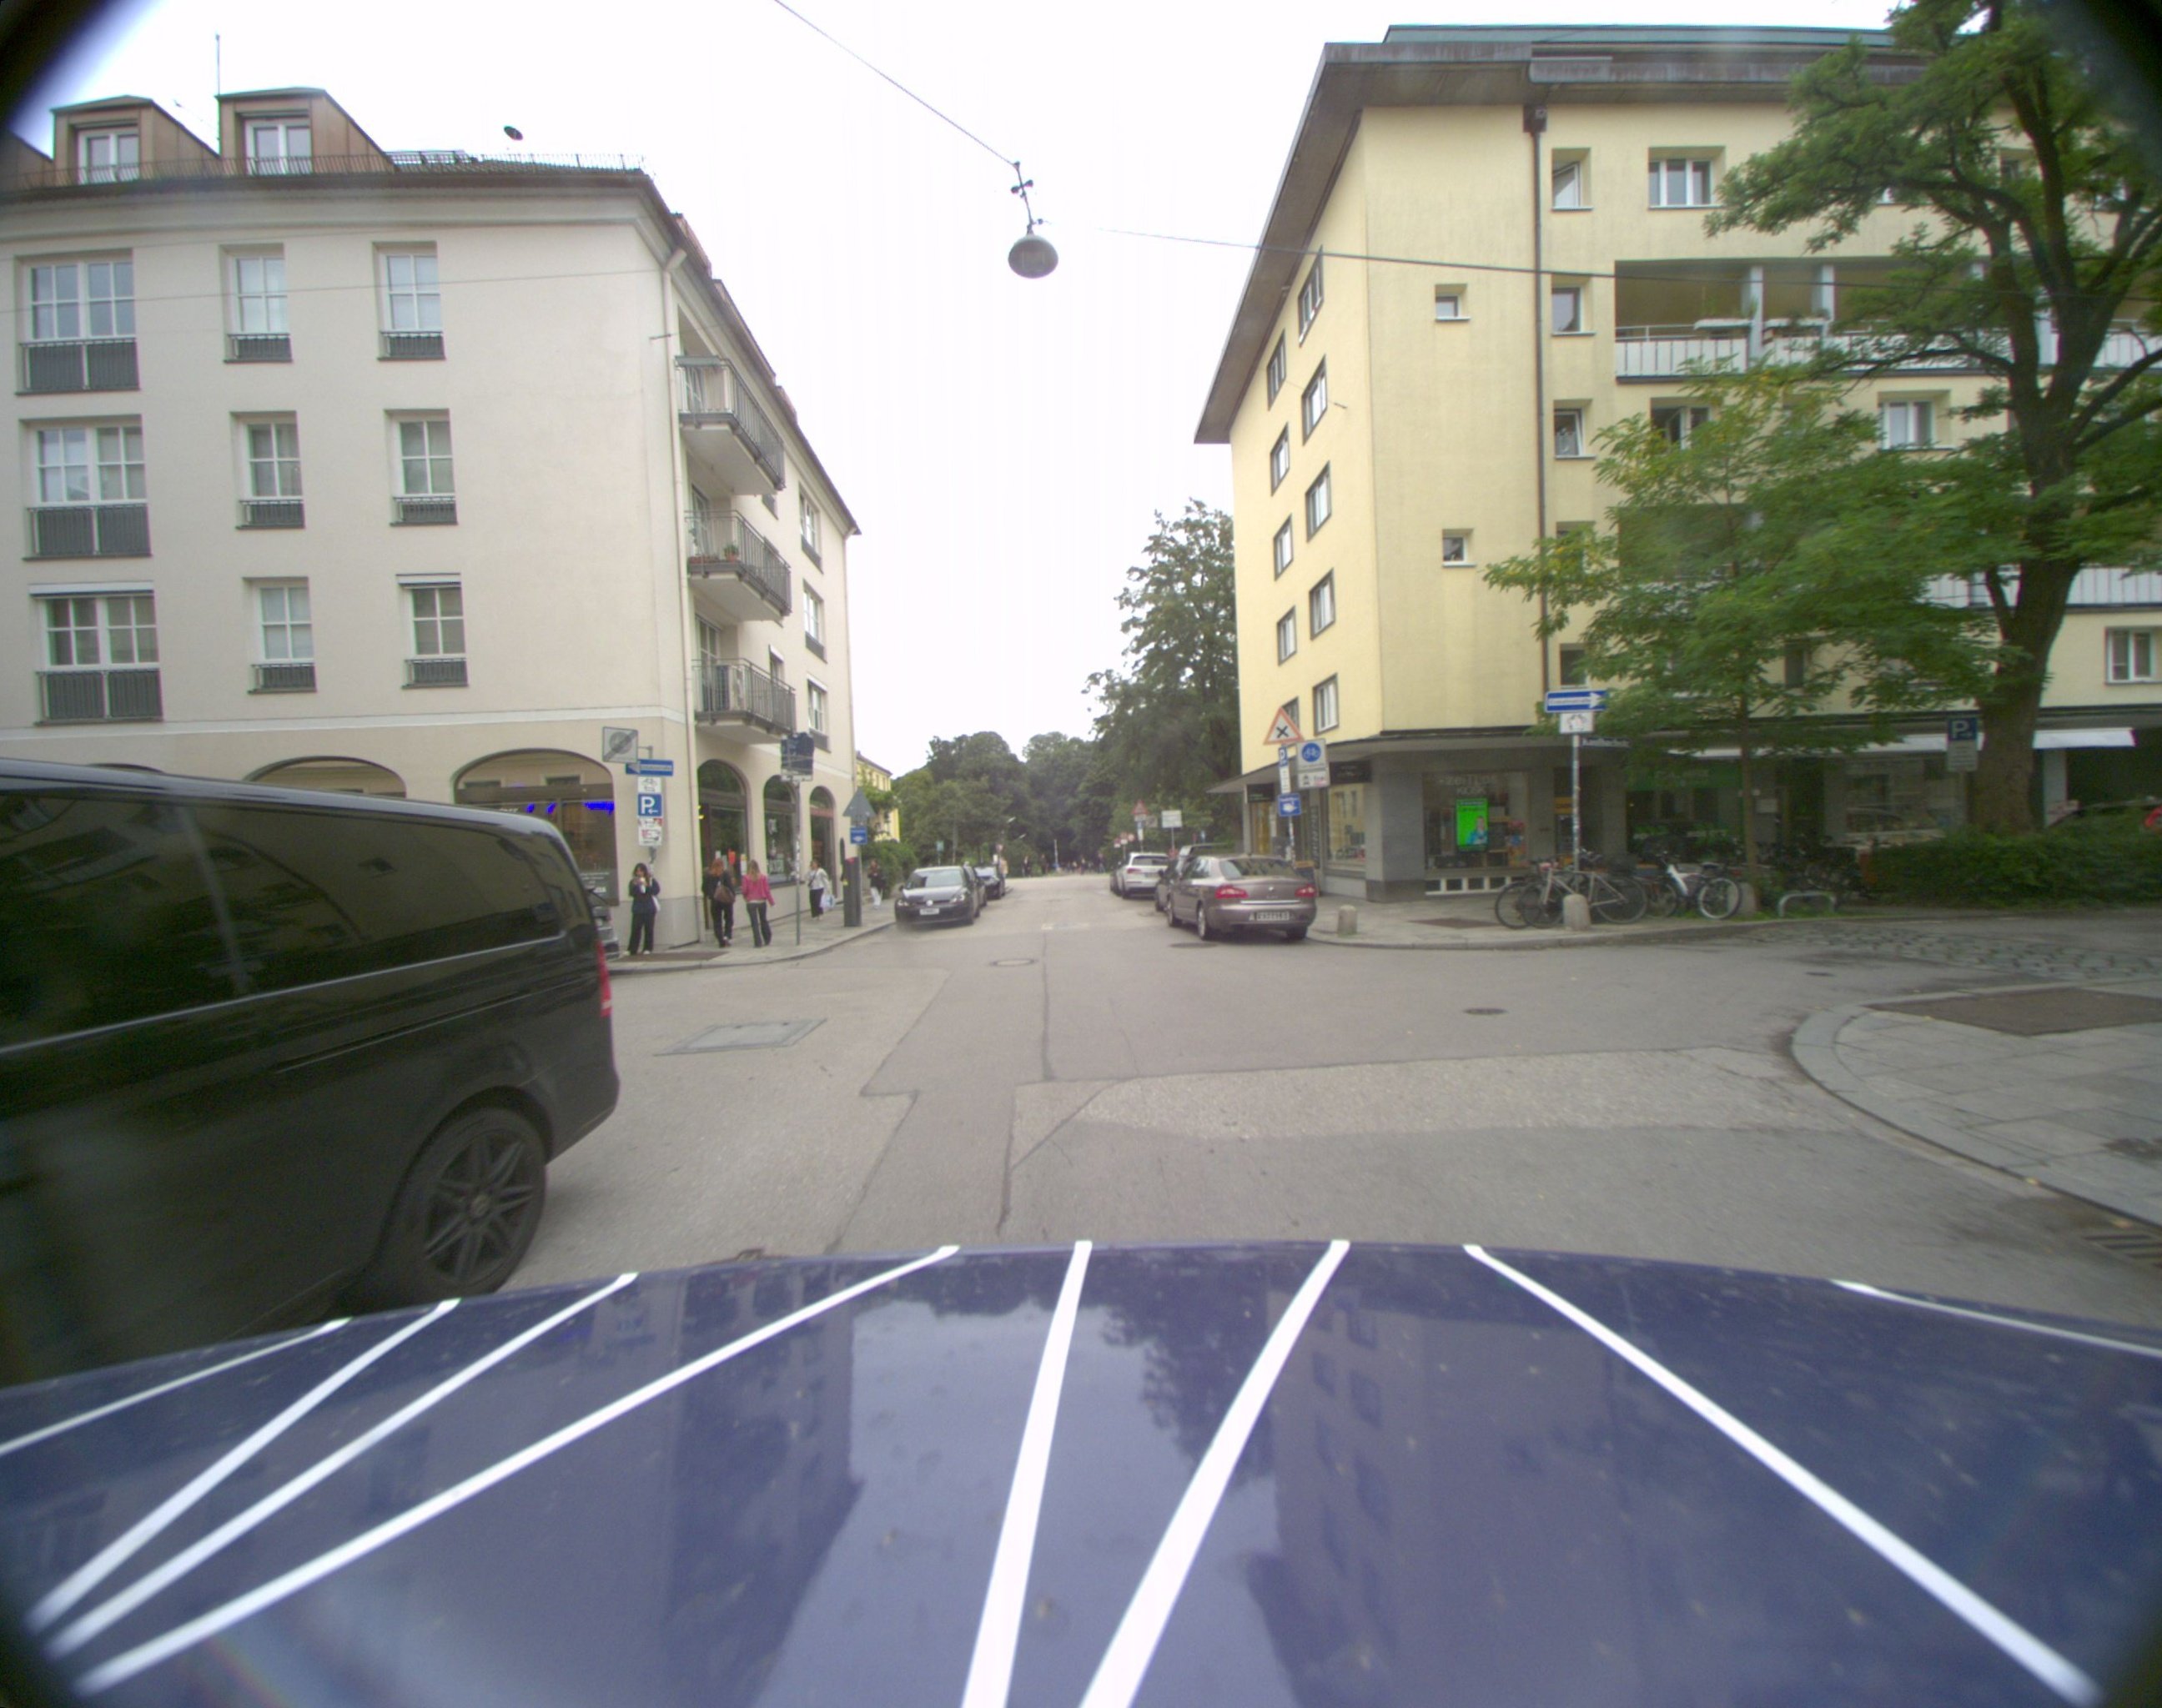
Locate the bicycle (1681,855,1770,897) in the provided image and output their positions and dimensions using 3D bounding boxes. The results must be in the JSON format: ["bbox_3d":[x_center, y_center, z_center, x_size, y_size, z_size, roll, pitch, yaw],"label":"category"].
[{"bbox_3d":[13.339,0.437,15.778,0.293,0.776,1.721,-2,2,-4],"label":"bicycle"}]

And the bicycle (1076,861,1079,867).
[{"bbox_3d":[-0.547,1.800,135.734,0.483,1.034,1.946,-2,0,1],"label":"bicycle"}]

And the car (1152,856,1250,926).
[{"bbox_3d":[2.805,0.805,18.579,1.683,1.463,4.096,-1,0,-1],"label":"car"}]

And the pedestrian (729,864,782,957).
[{"bbox_3d":[-6.016,1.017,14.098,0.473,1.616,1.069,-2,2,-2],"label":"pedestrian"}]

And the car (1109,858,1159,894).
[{"bbox_3d":[2.222,0.899,32.881,1.750,1.402,4.097,-1,0,-2],"label":"car"}]

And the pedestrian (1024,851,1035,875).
[{"bbox_3d":[-3.716,0.675,54.741,0.686,1.662,0.774,-4,-2,-1],"label":"pedestrian"}]

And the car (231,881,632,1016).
[{"bbox_3d":[-9.031,1.256,10.865,4.100,1.595,1.755,-2,-1,-3],"label":"car"}]

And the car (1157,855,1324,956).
[{"bbox_3d":[2.673,0.779,13.950,1.684,1.463,4.948,-1,0,-4],"label":"car"}]

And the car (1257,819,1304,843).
[{"bbox_3d":[19.239,-2.202,73.333,3.958,2.093,1.908,-2,2,29],"label":"car"}]

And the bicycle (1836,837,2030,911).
[{"bbox_3d":[14.704,0.332,13.168,2.372,1.205,0.817,-1,2,1],"label":"bicycle"}]

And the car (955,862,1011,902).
[{"bbox_3d":[-4.028,1.125,31.915,1.807,1.402,4.655,-3,0,-2],"label":"car"}]

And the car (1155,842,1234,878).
[{"bbox_3d":[7.081,0.320,47.335,4.423,1.990,1.933,-2,2,-16],"label":"car"}]

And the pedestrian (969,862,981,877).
[{"bbox_3d":[-8.978,1.310,64.263,0.888,1.227,0.550,-3,-2,-12],"label":"pedestrian"}]

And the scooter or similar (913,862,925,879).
[{"bbox_3d":[-11.882,1.197,55.836,0.396,1.240,1.391,-2,-1,7],"label":"scooter or similar"}]

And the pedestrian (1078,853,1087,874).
[{"bbox_3d":[0.136,0.856,66.558,0.751,1.822,1.115,-1,-1,-1],"label":"pedestrian"}]

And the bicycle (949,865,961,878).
[{"bbox_3d":[-9.894,1.375,59.735,0.307,1.032,1.656,-1,-1,13],"label":"bicycle"}]

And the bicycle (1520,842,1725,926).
[{"bbox_3d":[9.153,0.496,12.930,2.850,1.205,0.817,-4,2,1],"label":"bicycle"}]

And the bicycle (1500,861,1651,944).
[{"bbox_3d":[7.002,0.679,10.791,1.822,1.029,0.392,-4,0,1],"label":"bicycle"}]

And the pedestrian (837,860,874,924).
[{"bbox_3d":[-6.159,1.020,20.805,0.707,1.652,0.880,-2,2,-3],"label":"pedestrian"}]

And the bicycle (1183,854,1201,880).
[{"bbox_3d":[5.596,0.653,38.382,0.563,1.203,1.854,-3,1,1],"label":"bicycle"}]

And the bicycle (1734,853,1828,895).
[{"bbox_3d":[14.549,0.394,15.857,0.293,0.776,1.721,-2,2,-4],"label":"bicycle"}]

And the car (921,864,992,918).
[{"bbox_3d":[-3.894,1.111,24.413,1.650,1.416,4.508,-5,0,-3],"label":"car"}]

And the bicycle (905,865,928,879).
[{"bbox_3d":[-12.269,1.336,56.728,1.656,0.987,0.248,0,-1,-25],"label":"bicycle"}]

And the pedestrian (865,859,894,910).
[{"bbox_3d":[-6.753,1.003,25.464,0.707,1.613,0.880,-2,2,-3],"label":"pedestrian"}]

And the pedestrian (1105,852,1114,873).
[{"bbox_3d":[2.457,0.720,65.640,0.634,1.771,0.801,-1,-1,-1],"label":"pedestrian"}]

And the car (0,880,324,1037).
[{"bbox_3d":[-13.871,1.413,10.622,4.452,1.905,1.975,-2,-2,-3],"label":"car"}]

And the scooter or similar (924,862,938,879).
[{"bbox_3d":[-11.039,1.196,55.997,1.114,1.205,0.324,-2,-1,35],"label":"scooter or similar"}]

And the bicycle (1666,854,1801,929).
[{"bbox_3d":[9.574,0.509,11.238,0.381,0.960,1.715,-4,2,-5],"label":"bicycle"}]

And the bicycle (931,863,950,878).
[{"bbox_3d":[-10.720,1.260,57.987,0.202,1.184,1.658,-1,-2,40],"label":"bicycle"}]

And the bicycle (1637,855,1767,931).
[{"bbox_3d":[9.080,0.529,11.196,0.381,0.960,1.715,-4,2,-5],"label":"bicycle"}]

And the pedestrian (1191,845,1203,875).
[{"bbox_3d":[6.973,0.371,45.815,0.560,1.788,0.641,-2,-1,16],"label":"pedestrian"}]

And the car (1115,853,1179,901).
[{"bbox_3d":[2.284,0.802,27.389,1.807,1.574,4.338,-1,-1,-2],"label":"car"}]

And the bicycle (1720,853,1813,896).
[{"bbox_3d":[14.244,0.405,15.837,0.293,0.776,1.721,-2,2,-4],"label":"bicycle"}]

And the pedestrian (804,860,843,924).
[{"bbox_3d":[-7.022,1.027,20.757,0.707,1.652,0.880,-2,2,-3],"label":"pedestrian"}]

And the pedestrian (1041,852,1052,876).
[{"bbox_3d":[-2.519,0.704,55.016,0.639,1.662,0.774,-4,-2,-1],"label":"pedestrian"}]

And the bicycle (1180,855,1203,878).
[{"bbox_3d":[5.923,0.667,40.652,0.582,1.119,2.301,-3,0,22],"label":"bicycle"}]

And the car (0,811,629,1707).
[{"bbox_3d":[-3.158,0.893,0.909,2.002,1.853,5.252,-3,0,0],"label":"car"}]

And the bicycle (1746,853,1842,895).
[{"bbox_3d":[14.845,0.384,15.874,0.293,0.776,1.721,-2,2,-4],"label":"bicycle"}]

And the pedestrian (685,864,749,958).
[{"bbox_3d":[-6.719,1.030,14.065,0.660,1.611,0.979,-2,2,-2],"label":"pedestrian"}]

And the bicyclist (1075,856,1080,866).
[{"bbox_3d":[-0.551,1.281,135.753,0.856,1.792,0.766,-1,1,1],"label":"bicyclist"}]

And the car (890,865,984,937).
[{"bbox_3d":[-3.469,1.081,18.985,1.680,1.416,4.202,-5,0,-4],"label":"car"}]

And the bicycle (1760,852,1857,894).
[{"bbox_3d":[15.148,0.374,15.886,0.293,0.776,1.721,-2,2,-4],"label":"bicycle"}]

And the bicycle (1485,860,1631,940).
[{"bbox_3d":[7.008,0.667,11.195,1.822,1.029,0.392,-4,0,1],"label":"bicycle"}]

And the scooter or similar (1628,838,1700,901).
[{"bbox_3d":[12.138,0.299,15.814,1.205,1.194,0.996,-4,3,-42],"label":"scooter or similar"}]

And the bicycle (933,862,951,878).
[{"bbox_3d":[-10.577,1.248,57.850,0.169,1.191,1.658,-1,-2,40],"label":"bicycle"}]

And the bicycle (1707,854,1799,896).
[{"bbox_3d":[13.943,0.416,15.817,0.293,0.776,1.721,-2,2,-4],"label":"bicycle"}]

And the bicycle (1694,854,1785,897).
[{"bbox_3d":[13.637,0.421,15.792,0.293,0.776,1.721,-2,2,-4],"label":"bicycle"}]

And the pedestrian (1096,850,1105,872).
[{"bbox_3d":[1.708,0.614,65.656,0.708,1.892,0.804,-1,-1,-1],"label":"pedestrian"}]

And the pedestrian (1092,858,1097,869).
[{"bbox_3d":[2.277,1.596,124.820,0.686,1.662,0.774,-4,-2,-1],"label":"pedestrian"}]

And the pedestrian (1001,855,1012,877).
[{"bbox_3d":[-6.039,0.992,61.484,0.653,1.676,0.975,-4,-2,-1],"label":"pedestrian"}]
